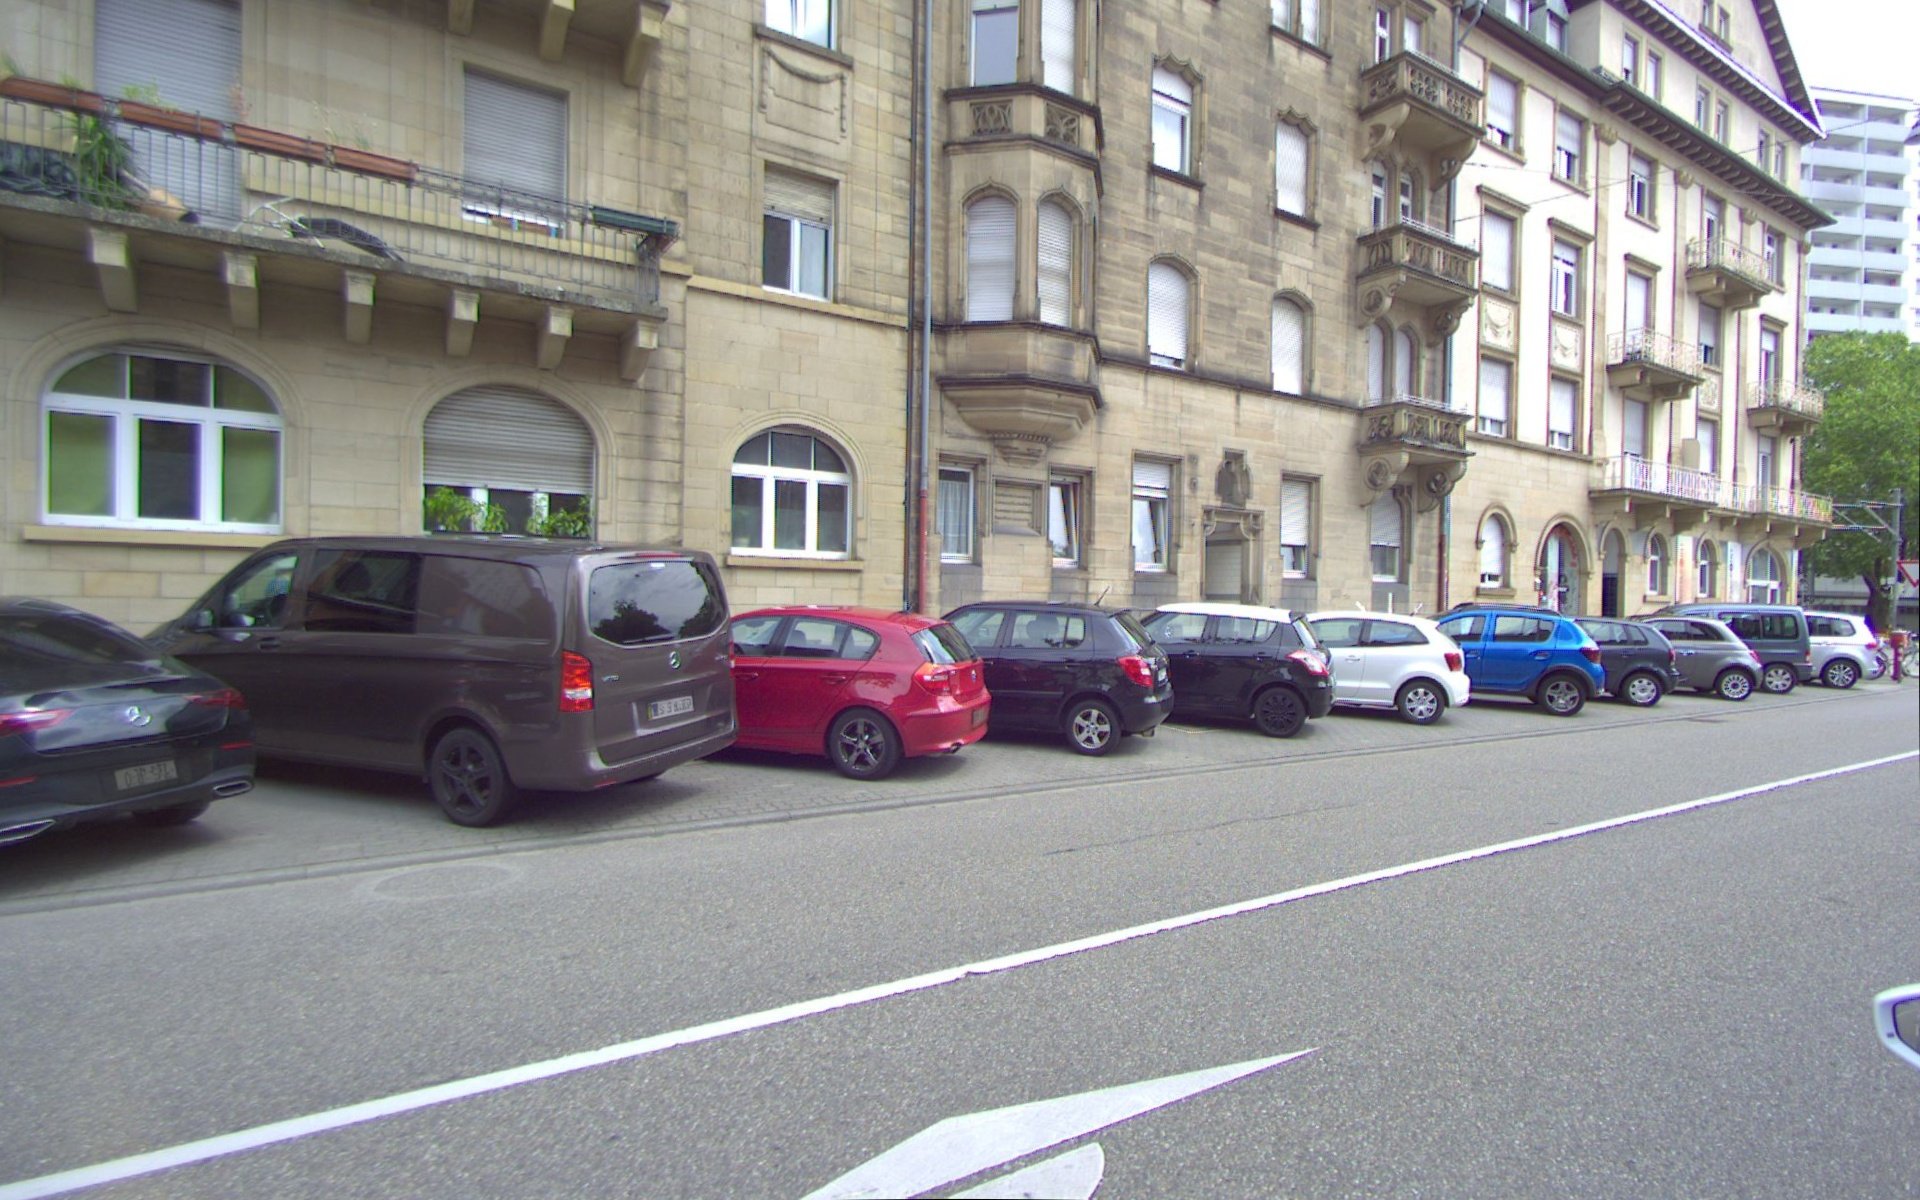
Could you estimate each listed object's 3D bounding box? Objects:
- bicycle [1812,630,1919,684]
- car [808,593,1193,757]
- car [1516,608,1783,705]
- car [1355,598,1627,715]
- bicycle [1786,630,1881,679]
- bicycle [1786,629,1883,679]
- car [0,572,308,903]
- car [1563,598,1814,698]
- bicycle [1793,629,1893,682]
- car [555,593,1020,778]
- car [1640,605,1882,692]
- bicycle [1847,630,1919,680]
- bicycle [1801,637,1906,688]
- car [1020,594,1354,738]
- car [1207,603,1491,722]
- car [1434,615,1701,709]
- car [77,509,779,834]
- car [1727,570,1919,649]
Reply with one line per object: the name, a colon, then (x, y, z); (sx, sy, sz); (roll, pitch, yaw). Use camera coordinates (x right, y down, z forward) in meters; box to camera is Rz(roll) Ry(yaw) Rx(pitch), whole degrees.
bicycle: (22.182, 1.376, 24.637); (0.587, 1.135, 1.801); (1, 3, -28)
car: (0.445, 0.720, 11.110); (3.919, 1.523, 1.631); (1, 0, 22)
car: (13.320, 1.035, 19.678); (3.932, 1.674, 1.797); (1, 0, 18)
car: (8.453, 0.843, 16.361); (3.704, 1.674, 1.724); (1, 0, 21)
bicycle: (23.245, 1.425, 26.752); (0.589, 1.135, 1.794); (1, 2, -40)
bicycle: (22.784, 1.383, 26.191); (0.589, 1.135, 1.794); (1, 2, -40)
car: (-6.488, 0.572, 6.004); (4.579, 1.428, 1.900); (4, 2, 18)
car: (15.324, 0.959, 21.388); (3.932, 1.904, 1.797); (1, 0, 18)
bicycle: (22.454, 1.399, 25.578); (0.589, 1.182, 1.794); (1, 2, -40)
car: (-1.562, 0.693, 9.506); (3.932, 1.428, 1.797); (1, 0, 16)
car: (18.195, 1.050, 23.049); (3.932, 1.797, 1.797); (1, 0, 18)
bicycle: (24.676, 1.436, 26.551); (0.489, 1.182, 1.877); (2, 1, -12)
bicycle: (21.599, 1.485, 24.315); (0.586, 1.135, 1.803); (1, -1, -26)
car: (2.954, 0.759, 13.086); (3.936, 1.585, 1.795); (1, 0, 25)
car: (5.575, 0.832, 14.644); (3.614, 1.501, 1.741); (1, 0, 21)
car: (10.747, 1.051, 18.107); (3.827, 1.463, 1.837); (1, 0, 22)
car: (-4.229, 0.397, 7.961); (5.169, 1.935, 2.120); (1, 0, 23)
car: (48.657, 0.506, 55.935); (3.392, 3.967, 9.904); (1, 0, -8)
